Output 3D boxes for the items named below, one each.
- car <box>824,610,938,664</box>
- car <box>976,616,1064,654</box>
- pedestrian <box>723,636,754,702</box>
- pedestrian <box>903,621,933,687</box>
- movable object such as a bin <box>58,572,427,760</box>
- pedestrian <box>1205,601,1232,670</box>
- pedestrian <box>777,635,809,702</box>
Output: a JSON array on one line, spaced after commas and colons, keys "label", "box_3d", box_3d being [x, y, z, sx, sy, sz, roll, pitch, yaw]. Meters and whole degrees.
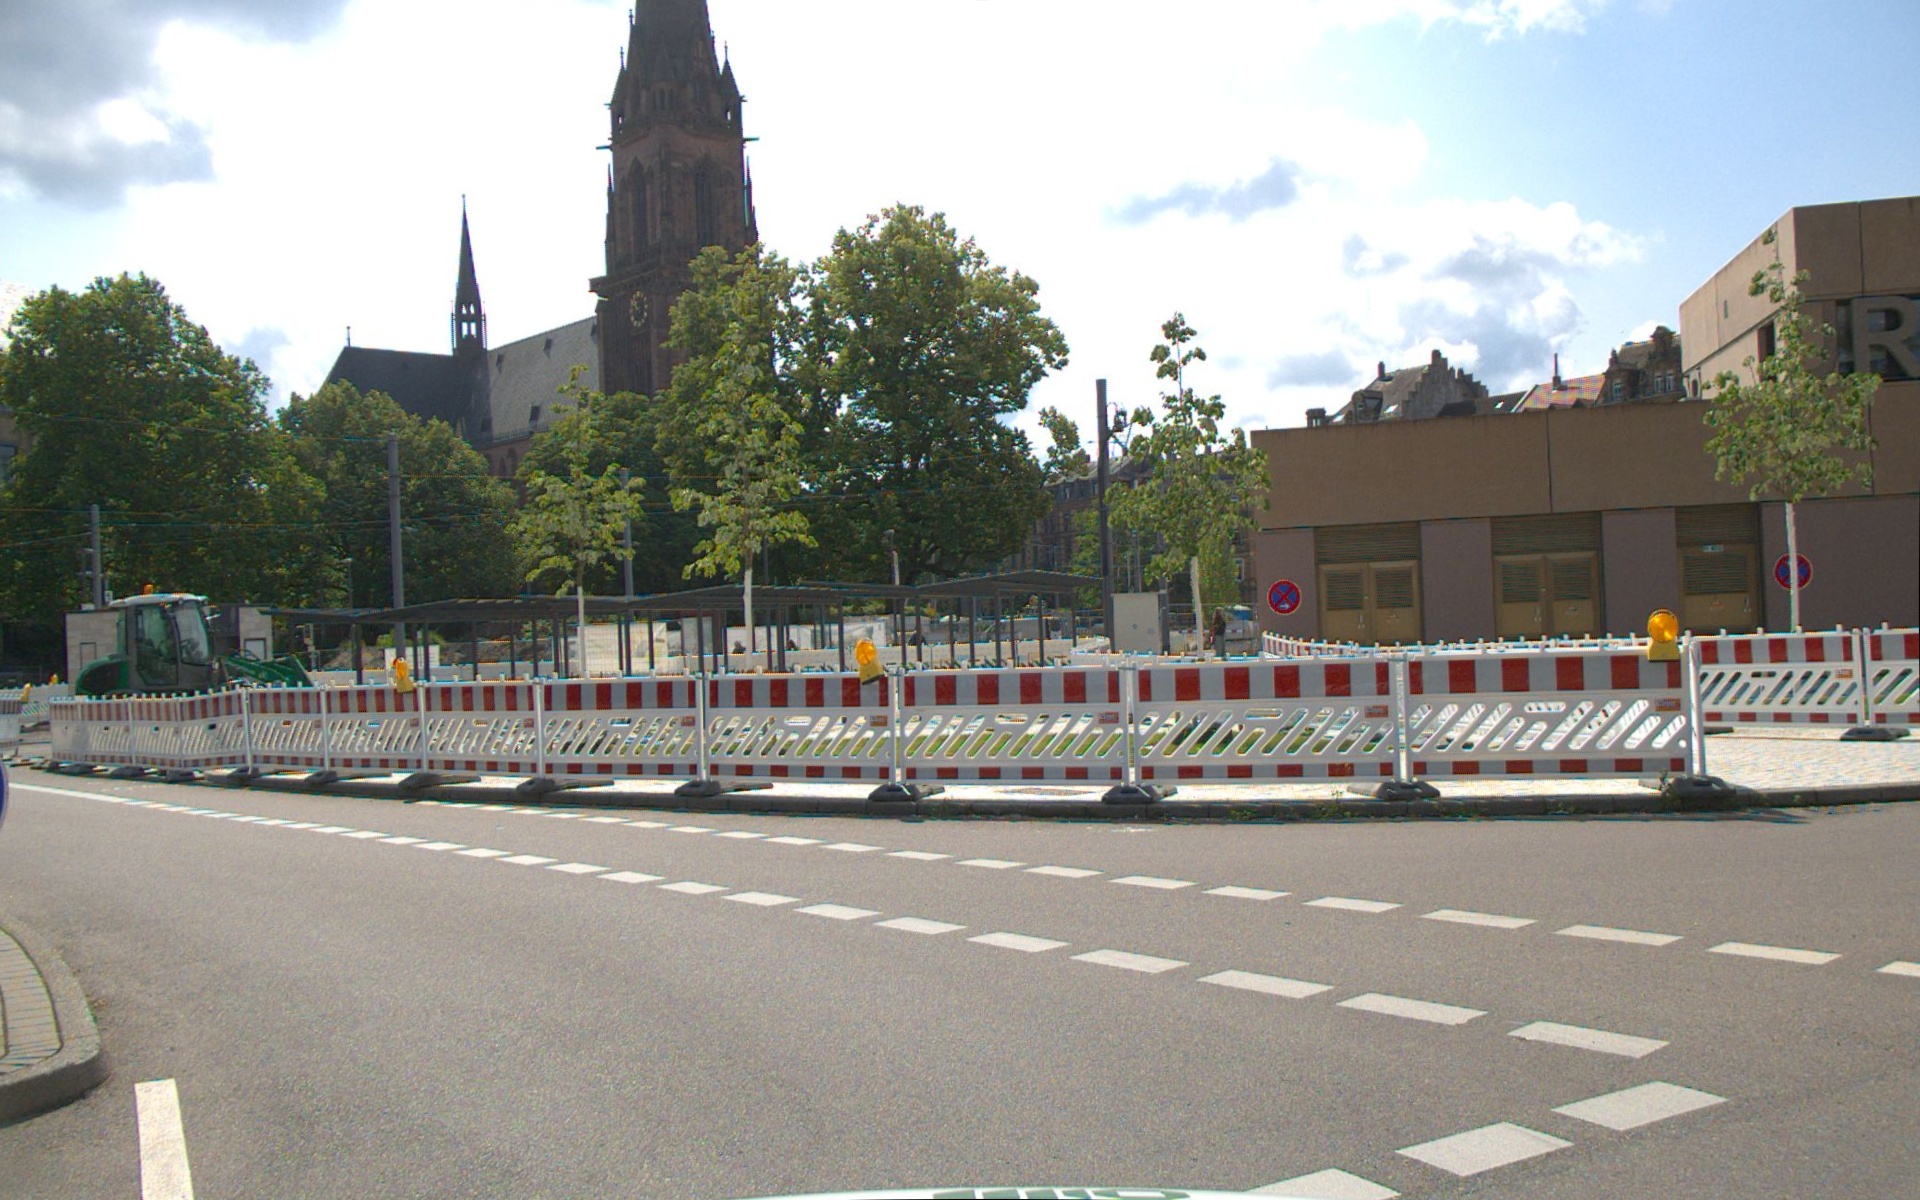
[{"label": "car", "box_3d": [-3.075, 1.451, 64.938, 4.077, 1.915, 1.804, -3, -1, 13]}, {"label": "car", "box_3d": [3.188, 1.850, 88.283, 4.268, 1.824, 1.783, -3, -1, 22]}, {"label": "pedestrian", "box_3d": [-7.104, 2.203, 53.030, 0.732, 2.049, 0.764, -2, -1, 10]}, {"label": "pedestrian", "box_3d": [-1.338, 1.725, 52.786, 0.744, 2.049, 0.751, -2, -1, 11]}, {"label": "movable object such as a bin", "box_3d": [-12.482, 1.137, 29.013, 5.408, 2.935, 2.289, -3, -1, 4]}, {"label": "pedestrian", "box_3d": [7.860, 1.071, 50.340, 0.685, 2.049, 0.556, -3, -1, 13]}, {"label": "pedestrian", "box_3d": [-5.248, 2.149, 52.110, 0.744, 2.049, 0.751, -2, -1, 11]}]
